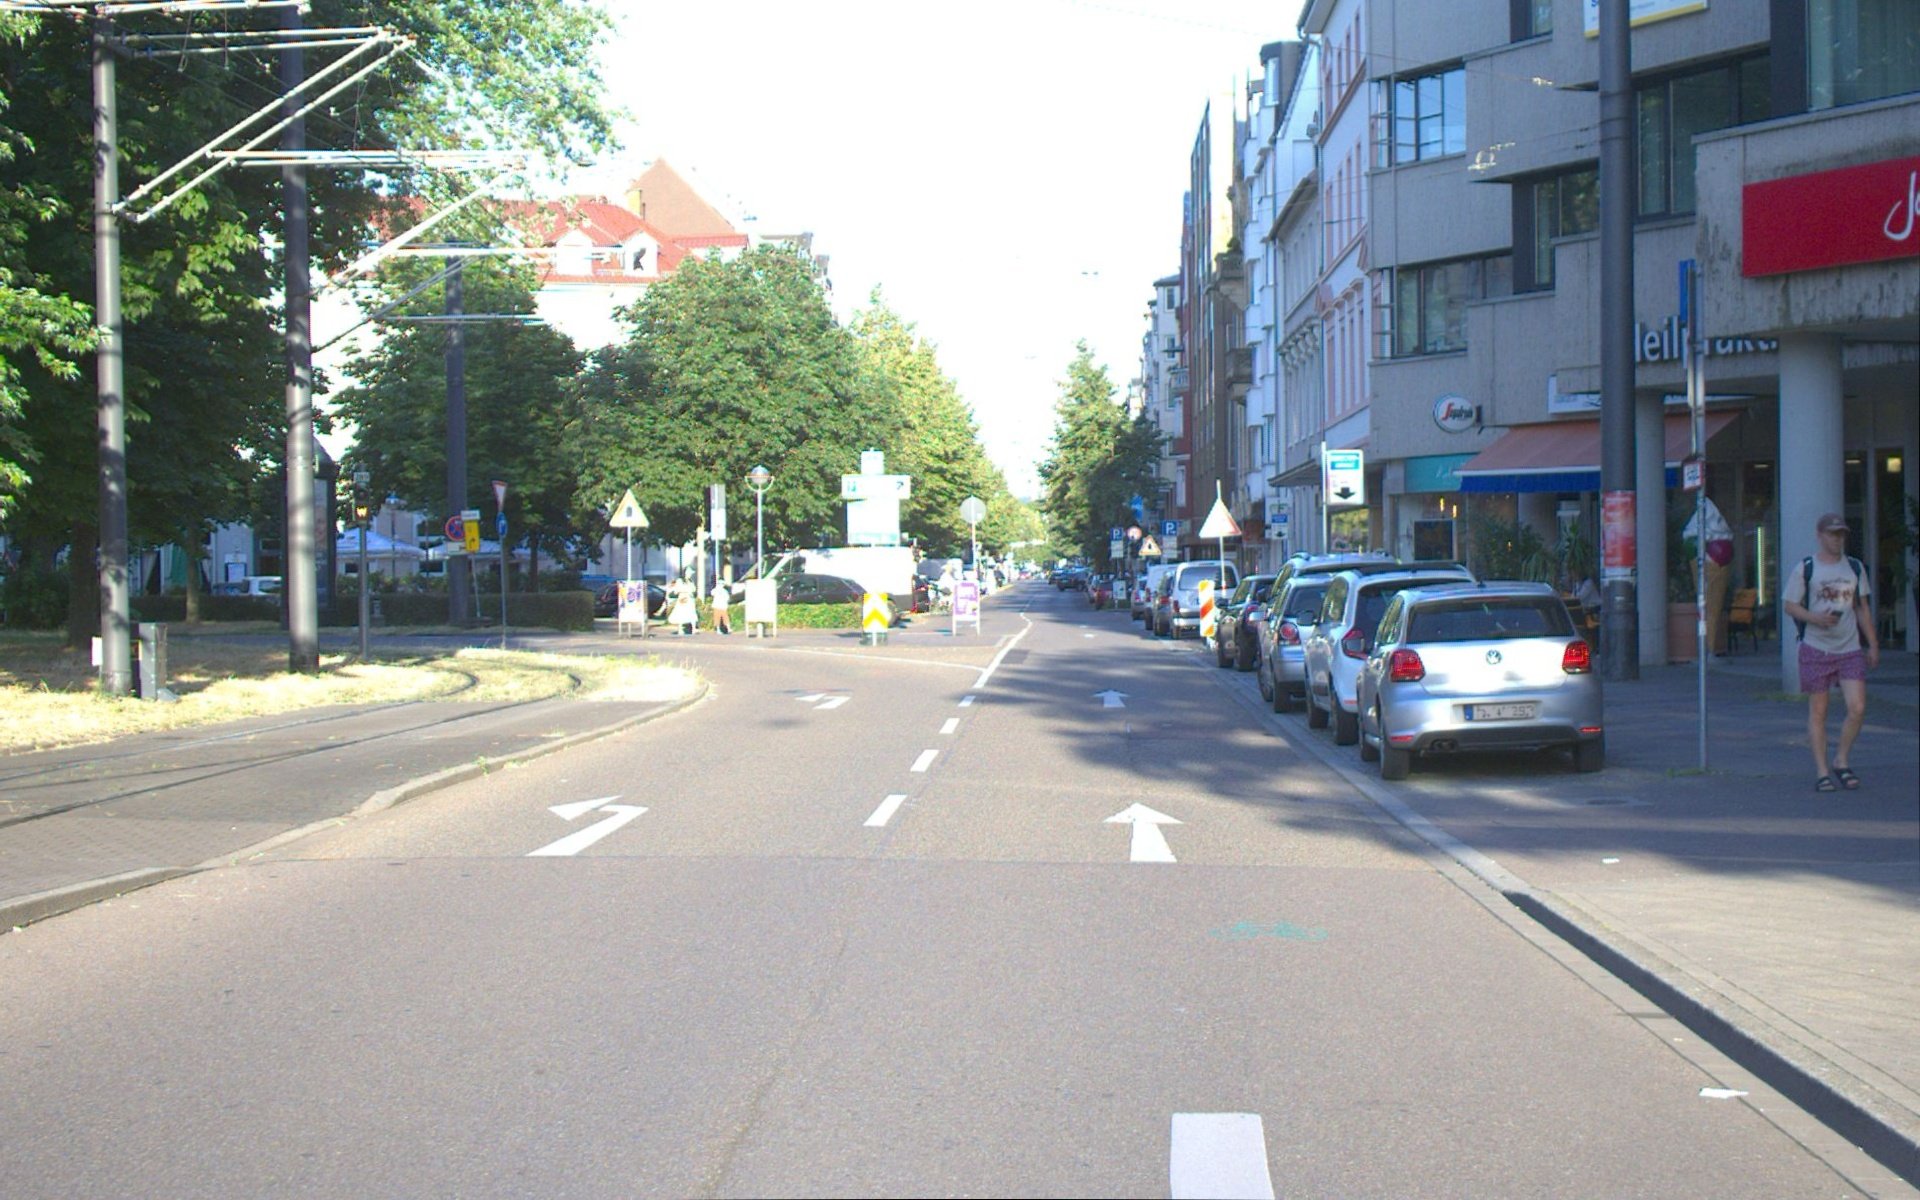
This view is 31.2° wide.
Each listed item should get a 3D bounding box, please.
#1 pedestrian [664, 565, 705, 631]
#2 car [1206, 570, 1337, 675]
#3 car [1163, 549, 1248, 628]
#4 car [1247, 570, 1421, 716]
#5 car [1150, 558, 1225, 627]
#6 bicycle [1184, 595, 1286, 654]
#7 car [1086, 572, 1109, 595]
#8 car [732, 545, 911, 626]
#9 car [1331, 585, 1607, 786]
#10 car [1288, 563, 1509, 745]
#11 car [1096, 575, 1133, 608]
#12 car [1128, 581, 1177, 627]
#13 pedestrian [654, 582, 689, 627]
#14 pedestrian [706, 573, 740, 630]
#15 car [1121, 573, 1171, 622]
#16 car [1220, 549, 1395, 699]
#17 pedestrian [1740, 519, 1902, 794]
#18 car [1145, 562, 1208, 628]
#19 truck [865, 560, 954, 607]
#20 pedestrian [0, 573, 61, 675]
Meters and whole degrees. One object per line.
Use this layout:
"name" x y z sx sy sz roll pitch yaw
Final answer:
"pedestrian" -6.535 -0.040 81.558 0.697 1.553 0.694 0 1 -35
"car" 4.650 0.307 51.735 1.790 1.502 3.920 1 1 3
"car" 5.684 -0.268 79.992 1.792 1.786 4.091 0 0 2
"car" 4.129 0.433 38.430 1.641 1.523 4.000 1 1 2
"car" 5.631 -0.201 85.455 1.656 1.659 4.108 1 0 1
"bicycle" 5.157 0.460 64.419 1.789 0.986 0.541 -3 2 14
"car" 8.132 -0.965 203.635 1.206 1.296 2.661 0 0 -1
"car" -3.944 -0.395 97.907 4.597 2.243 2.203 1 0 -25
"car" 3.930 0.619 27.095 1.785 1.451 4.000 -1 0 3
"car" 4.037 0.455 32.106 1.584 1.585 3.668 1 1 0
"car" 7.677 -0.422 171.487 1.576 1.537 3.397 -2 0 -1
"car" 6.973 0.122 124.334 1.680 1.556 4.000 -2 1 4
"pedestrian" -8.286 0.135 98.653 0.746 1.273 0.661 0 1 -35
"pedestrian" -5.649 0.039 81.905 0.562 1.359 0.614 0 1 -35
"car" 6.990 -0.100 129.457 1.696 1.763 4.000 -1 1 1
"car" 4.375 0.264 43.869 1.784 1.798 4.401 1 1 0
"pedestrian" 5.697 0.361 22.771 0.638 1.780 0.857 0 1 -22
"car" 6.165 -0.165 98.297 1.710 1.829 4.305 1 1 3
"truck" -2.820 -0.931 194.301 4.941 2.606 2.000 0 0 1
"pedestrian" -15.524 0.406 57.421 0.744 1.693 0.823 1 -2 2
